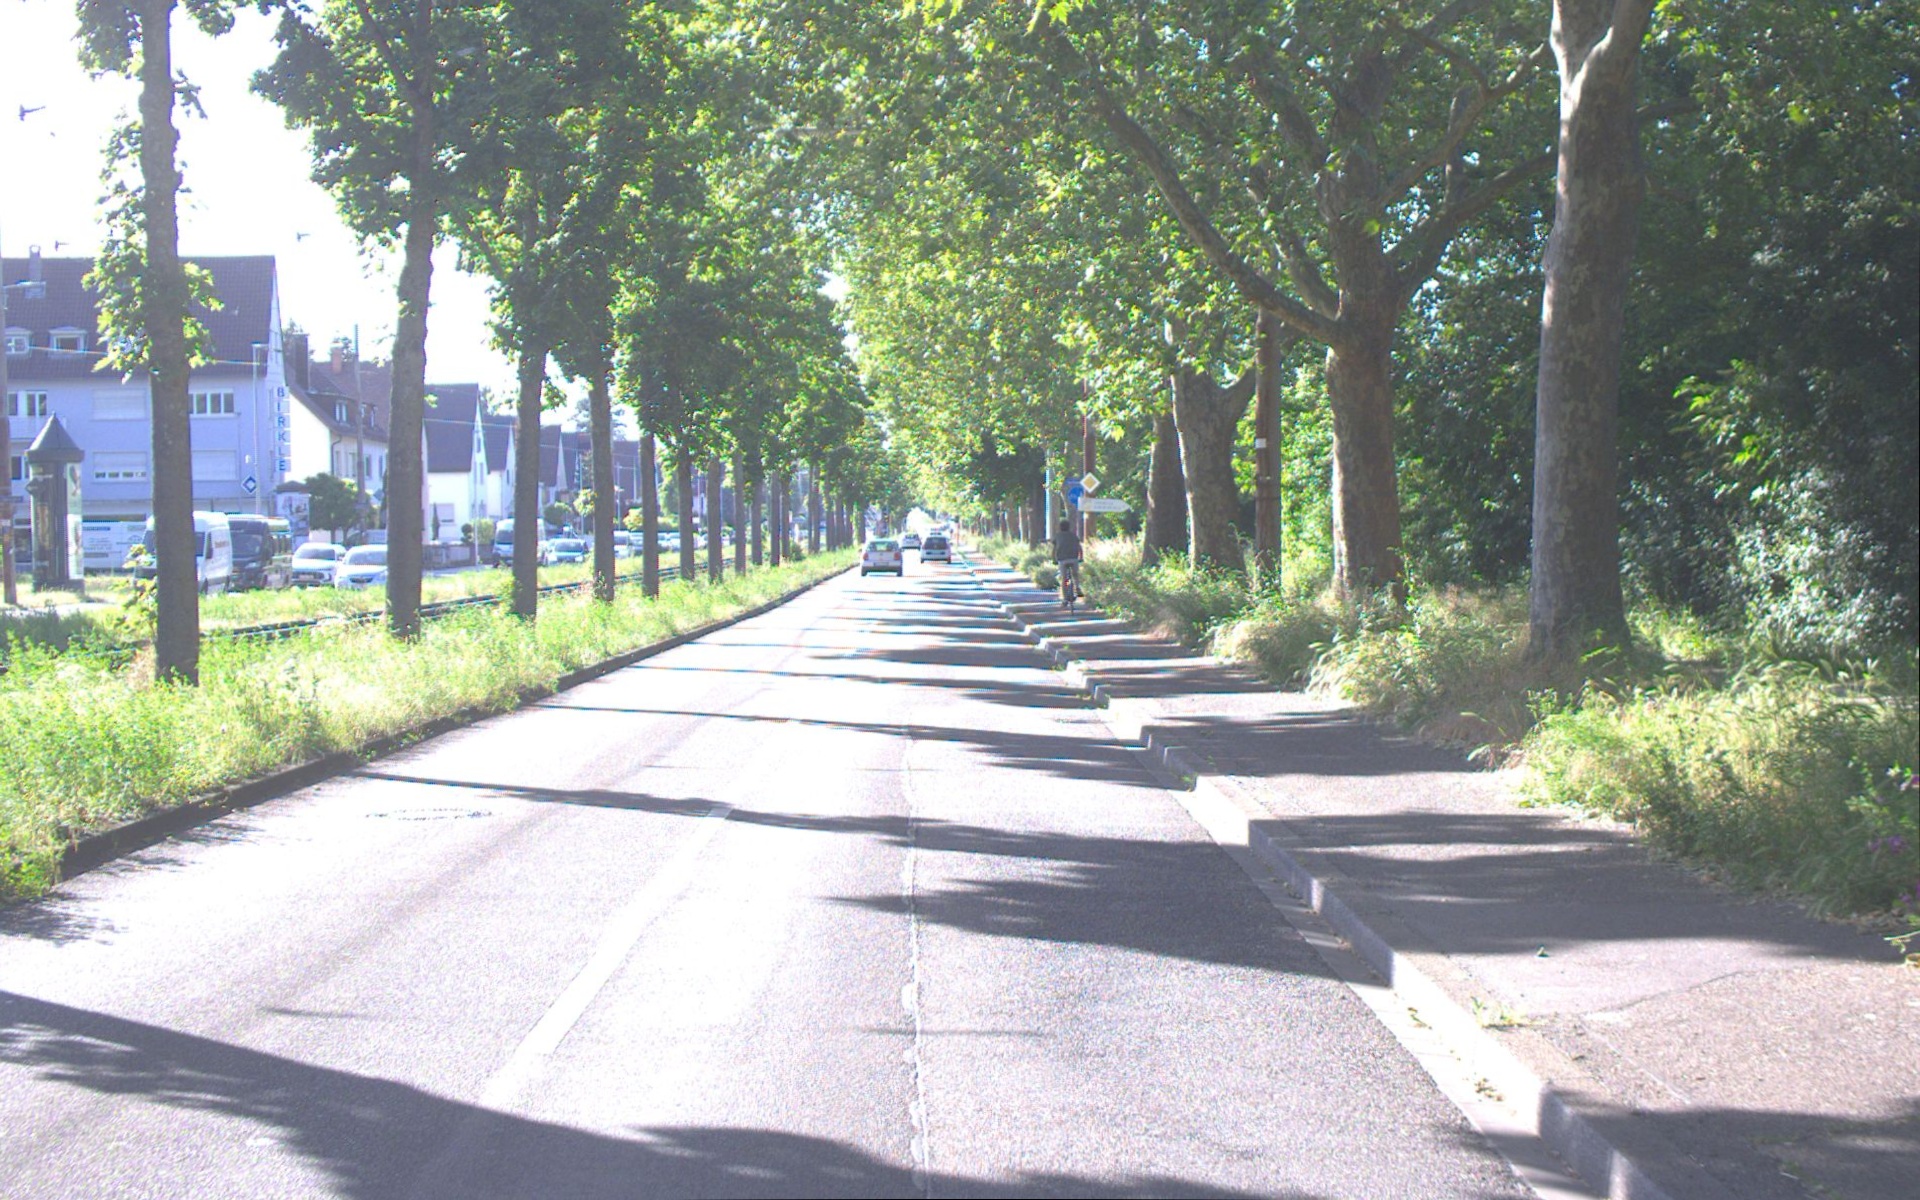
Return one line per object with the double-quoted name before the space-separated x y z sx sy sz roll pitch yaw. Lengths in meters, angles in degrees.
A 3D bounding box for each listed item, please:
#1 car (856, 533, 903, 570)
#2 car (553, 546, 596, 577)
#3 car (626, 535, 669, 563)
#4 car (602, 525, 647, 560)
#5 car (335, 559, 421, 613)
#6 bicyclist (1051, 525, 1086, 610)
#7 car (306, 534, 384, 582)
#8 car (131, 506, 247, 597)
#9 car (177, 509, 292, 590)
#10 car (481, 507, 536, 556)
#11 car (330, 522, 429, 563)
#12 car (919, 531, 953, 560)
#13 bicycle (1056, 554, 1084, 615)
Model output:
"car" -3.120 -1.889 133.388 1.738 1.396 3.277 1 1 -1
"car" -17.346 -1.734 154.851 1.557 1.390 3.821 1 1 -1
"car" -17.456 -2.868 192.176 1.993 1.526 3.751 -1 1 1
"car" -17.248 -2.925 176.769 1.810 1.738 4.982 1 1 0
"car" -17.030 -0.421 100.735 1.727 1.523 4.442 1 1 0
"bicyclist" 2.087 -0.625 66.229 0.613 1.623 0.909 -1 1 0
"car" -21.352 -1.463 119.530 1.823 1.601 4.774 1 1 0
"car" -22.005 -1.375 98.322 2.001 2.488 6.138 1 1 -1
"car" -22.320 -1.546 105.988 2.182 2.368 6.465 1 1 0
"car" -23.316 -3.530 177.761 1.993 2.451 6.675 1 1 -1
"car" -27.754 -2.753 164.210 4.616 1.939 2.001 0 1 -11
"car" -1.282 -2.936 185.831 1.761 1.508 3.277 1 1 0
"bicycle" 2.111 -0.308 66.289 0.440 1.149 1.823 -1 1 -1
